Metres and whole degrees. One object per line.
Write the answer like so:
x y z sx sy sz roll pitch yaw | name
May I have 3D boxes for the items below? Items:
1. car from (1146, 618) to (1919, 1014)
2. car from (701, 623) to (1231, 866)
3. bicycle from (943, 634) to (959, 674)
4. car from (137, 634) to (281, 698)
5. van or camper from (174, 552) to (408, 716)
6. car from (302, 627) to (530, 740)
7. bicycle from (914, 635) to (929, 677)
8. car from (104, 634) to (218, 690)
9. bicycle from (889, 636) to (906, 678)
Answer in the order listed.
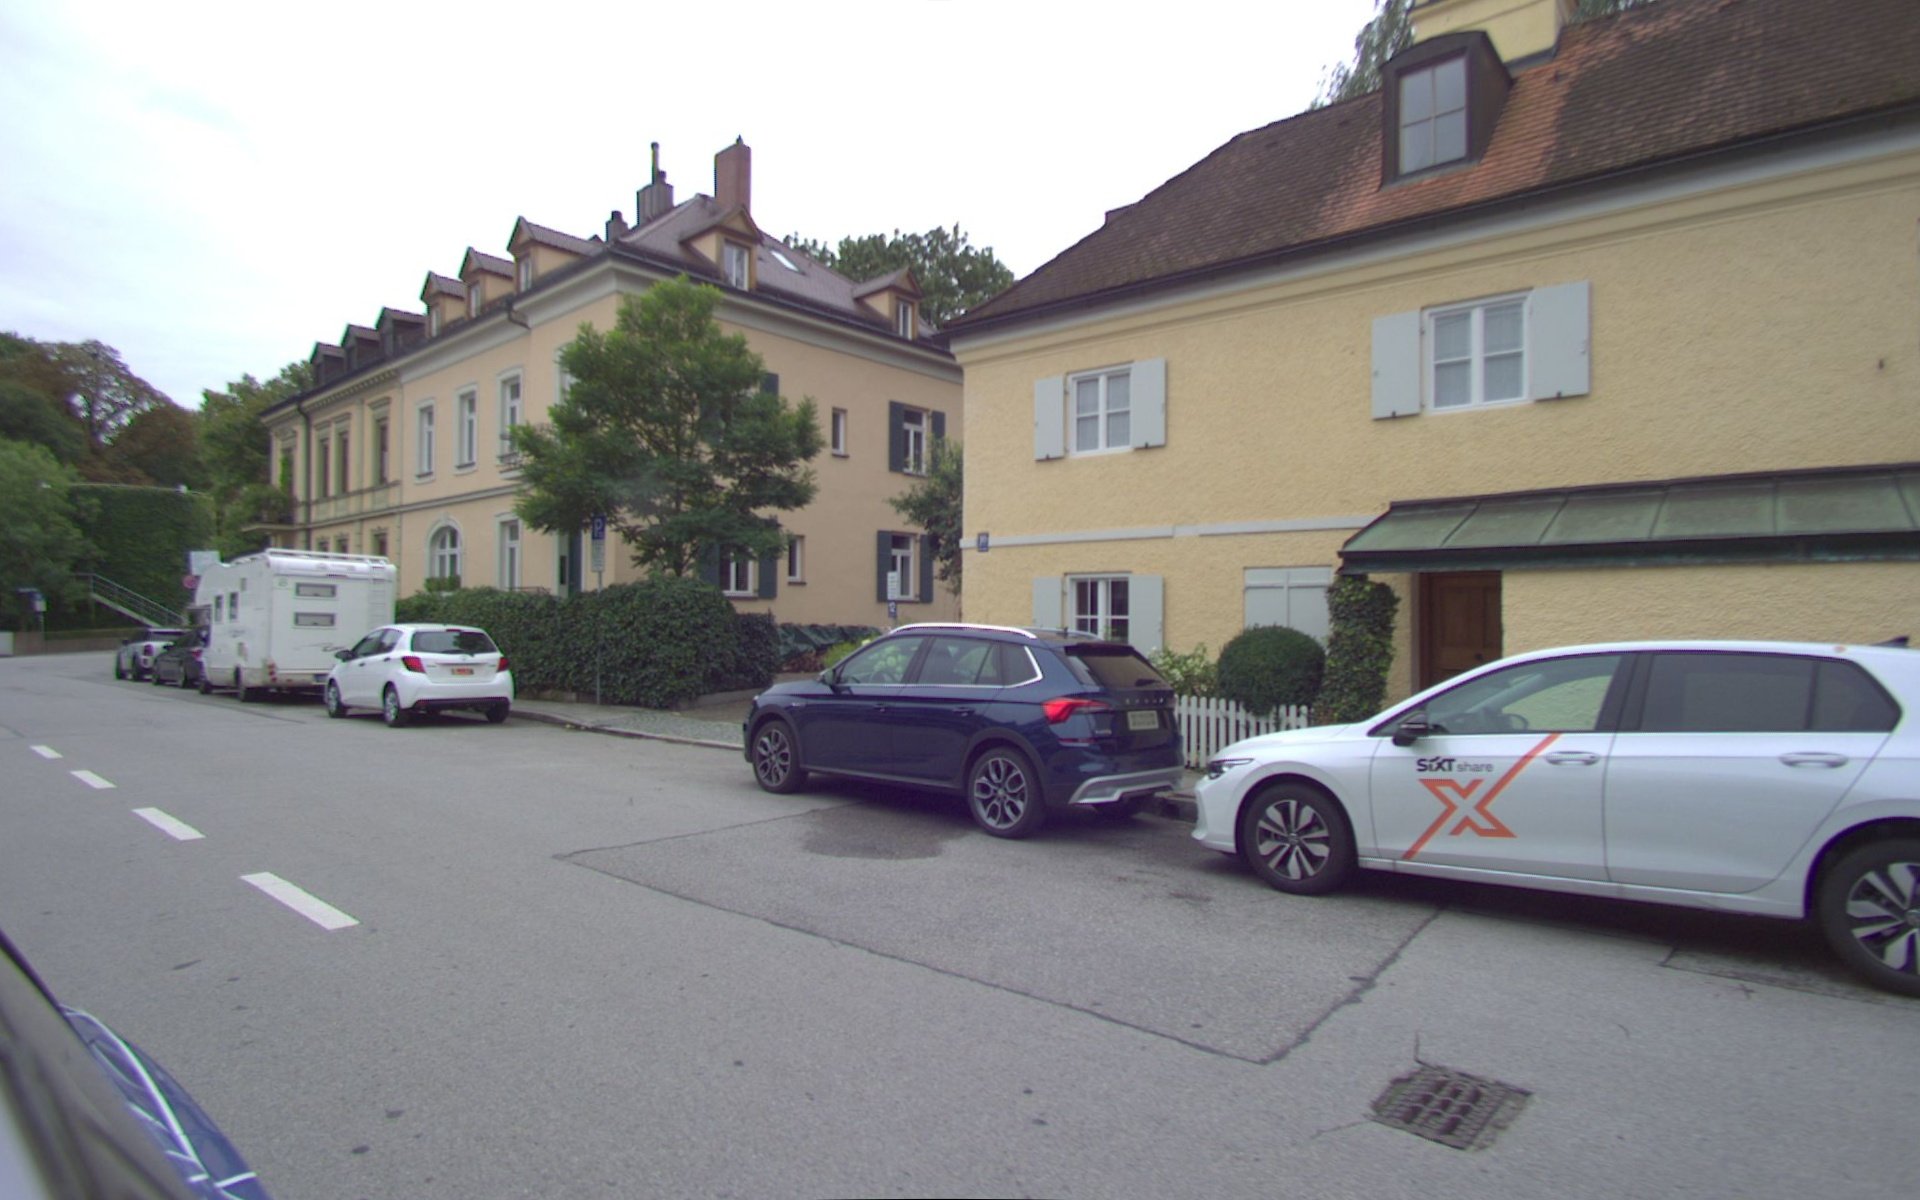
3.449 0.931 5.506 4.519 1.547 1.825 -2 -5 42 | car
-0.144 1.020 8.717 4.439 1.547 1.825 -1 -4 42 | car
-0.258 1.531 29.013 0.364 1.093 1.741 0 -2 3 | bicycle
-19.600 1.682 26.345 4.818 1.520 1.916 -2 -5 41 | car
-14.422 0.755 21.563 7.211 2.963 2.428 -2 -4 43 | van or camper
-8.693 1.253 16.028 4.226 1.547 1.759 -2 -5 41 | car
-1.041 1.514 27.759 0.363 1.093 1.743 0 -2 0 | bicycle
-23.952 1.823 30.282 4.530 1.547 1.915 -2 -5 43 | car
-1.661 1.507 27.088 0.363 1.093 1.743 0 -2 0 | bicycle
